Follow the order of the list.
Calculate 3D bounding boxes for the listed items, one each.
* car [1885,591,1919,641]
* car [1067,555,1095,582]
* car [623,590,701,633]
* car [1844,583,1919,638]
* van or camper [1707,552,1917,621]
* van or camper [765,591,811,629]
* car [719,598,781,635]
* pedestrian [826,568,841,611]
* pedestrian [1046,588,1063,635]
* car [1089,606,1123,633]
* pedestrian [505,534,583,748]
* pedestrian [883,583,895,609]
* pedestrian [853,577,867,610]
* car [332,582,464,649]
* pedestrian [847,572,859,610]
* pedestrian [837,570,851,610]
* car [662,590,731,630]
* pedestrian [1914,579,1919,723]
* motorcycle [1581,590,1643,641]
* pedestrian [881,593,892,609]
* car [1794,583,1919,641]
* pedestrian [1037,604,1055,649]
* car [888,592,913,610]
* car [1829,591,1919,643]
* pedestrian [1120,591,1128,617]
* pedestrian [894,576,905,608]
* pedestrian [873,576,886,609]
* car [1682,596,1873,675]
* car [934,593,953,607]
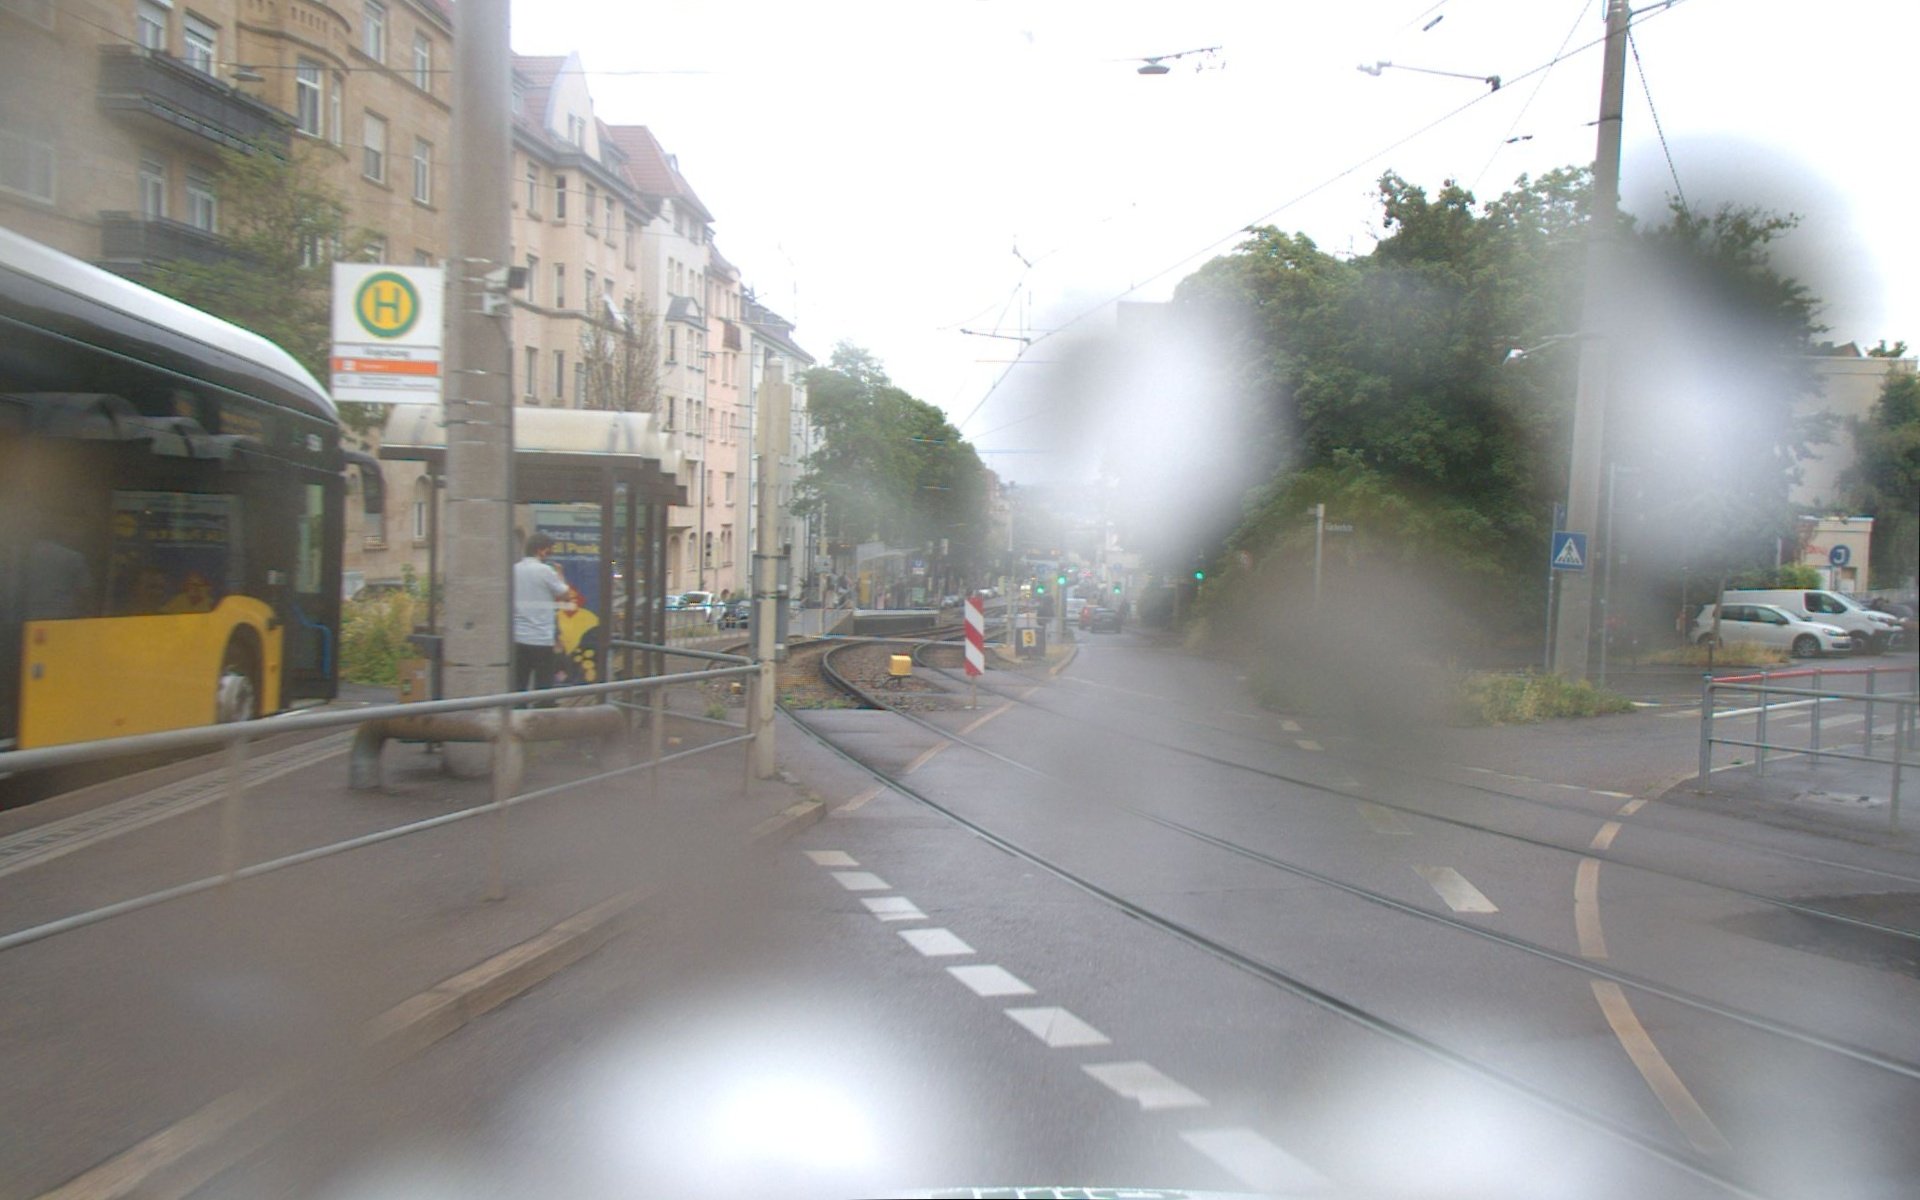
[{"bbox_3d":[36.636,0.604,61.148,1.833,1.802,3.936,0,1,-44],"label":"car"},{"bbox_3d":[8.844,-2.292,121.387,1.908,1.824,4.145,1,0,2],"label":"car"},{"bbox_3d":[-12.054,0.492,67.101,1.952,1.559,4.534,3,-1,5],"label":"car"},{"bbox_3d":[32.556,0.347,56.341,1.833,1.802,3.936,0,1,-44],"label":"car"},{"bbox_3d":[24.844,-0.353,48.399,1.983,1.866,5.102,-1,-1,-41],"label":"van or camper"},{"bbox_3d":[-9.726,0.543,93.914,1.952,2.049,4.002,0,0,3],"label":"van or camper"},{"bbox_3d":[-10.340,0.810,81.672,1.951,1.762,4.817,-1,-1,6],"label":"car"},{"bbox_3d":[-5.596,-0.474,73.299,0.549,1.882,0.599,-1,-1,4],"label":"pedestrian"},{"bbox_3d":[3.707,0.444,64.744,0.637,1.815,0.848,1,0,4],"label":"pedestrian"},{"bbox_3d":[8.617,1.164,97.692,1.813,1.499,4.002,0,1,3],"label":"car"},{"bbox_3d":[-3.537,0.346,14.096,0.565,1.783,0.542,0,-1,-7],"label":"pedestrian"},{"bbox_3d":[-4.001,-0.234,93.157,0.538,1.438,0.614,-1,-1,4],"label":"pedestrian"},{"bbox_3d":[-5.100,-0.332,84.248,0.581,1.695,0.762,-1,-1,4],"label":"pedestrian"},{"bbox_3d":[-13.999,0.376,41.409,1.596,1.574,4.177,1,0,4],"label":"car"},{"bbox_3d":[-5.282,-0.438,81.718,0.505,1.870,0.762,-1,-1,4],"label":"pedestrian"},{"bbox_3d":[-5.484,-0.466,78.181,0.505,1.870,0.762,-1,-1,4],"label":"pedestrian"},{"bbox_3d":[-11.531,0.420,72.713,1.882,1.651,4.538,-1,0,5],"label":"car"},{"bbox_3d":[13.943,0.720,23.148,0.669,2.049,0.785,-1,0,-9],"label":"pedestrian"},{"bbox_3d":[18.932,0.460,47.988,0.811,1.398,2.415,6,3,42],"label":"motorcycle"},{"bbox_3d":[-4.090,0.035,92.259,0.538,0.887,0.614,-1,-1,4],"label":"pedestrian"},{"bbox_3d":[28.125,0.374,51.111,1.725,1.713,3.840,0,-1,-45],"label":"car"},{"bbox_3d":[3.130,0.960,60.221,0.637,1.589,0.684,1,0,4],"label":"pedestrian"},{"bbox_3d":[-5.432,0.082,151.311,1.689,1.542,4.499,0,1,5],"label":"car"},{"bbox_3d":[31.216,0.561,54.905,1.725,1.713,3.840,0,-1,-45],"label":"car"},{"bbox_3d":[11.749,0.306,118.548,0.542,1.845,0.651,1,0,1],"label":"pedestrian"},{"bbox_3d":[-3.449,-0.451,94.378,0.538,1.772,0.614,-1,-1,4],"label":"pedestrian"},{"bbox_3d":[-4.283,-0.385,87.629,0.581,1.695,0.762,-1,-1,4],"label":"pedestrian"},{"bbox_3d":[22.915,0.962,46.456,4.431,2.049,1.987,1,0,43],"label":"car"},{"bbox_3d":[-1.923,0.013,193.957,1.736,1.514,4.257,-1,0,4],"label":"car"}]
